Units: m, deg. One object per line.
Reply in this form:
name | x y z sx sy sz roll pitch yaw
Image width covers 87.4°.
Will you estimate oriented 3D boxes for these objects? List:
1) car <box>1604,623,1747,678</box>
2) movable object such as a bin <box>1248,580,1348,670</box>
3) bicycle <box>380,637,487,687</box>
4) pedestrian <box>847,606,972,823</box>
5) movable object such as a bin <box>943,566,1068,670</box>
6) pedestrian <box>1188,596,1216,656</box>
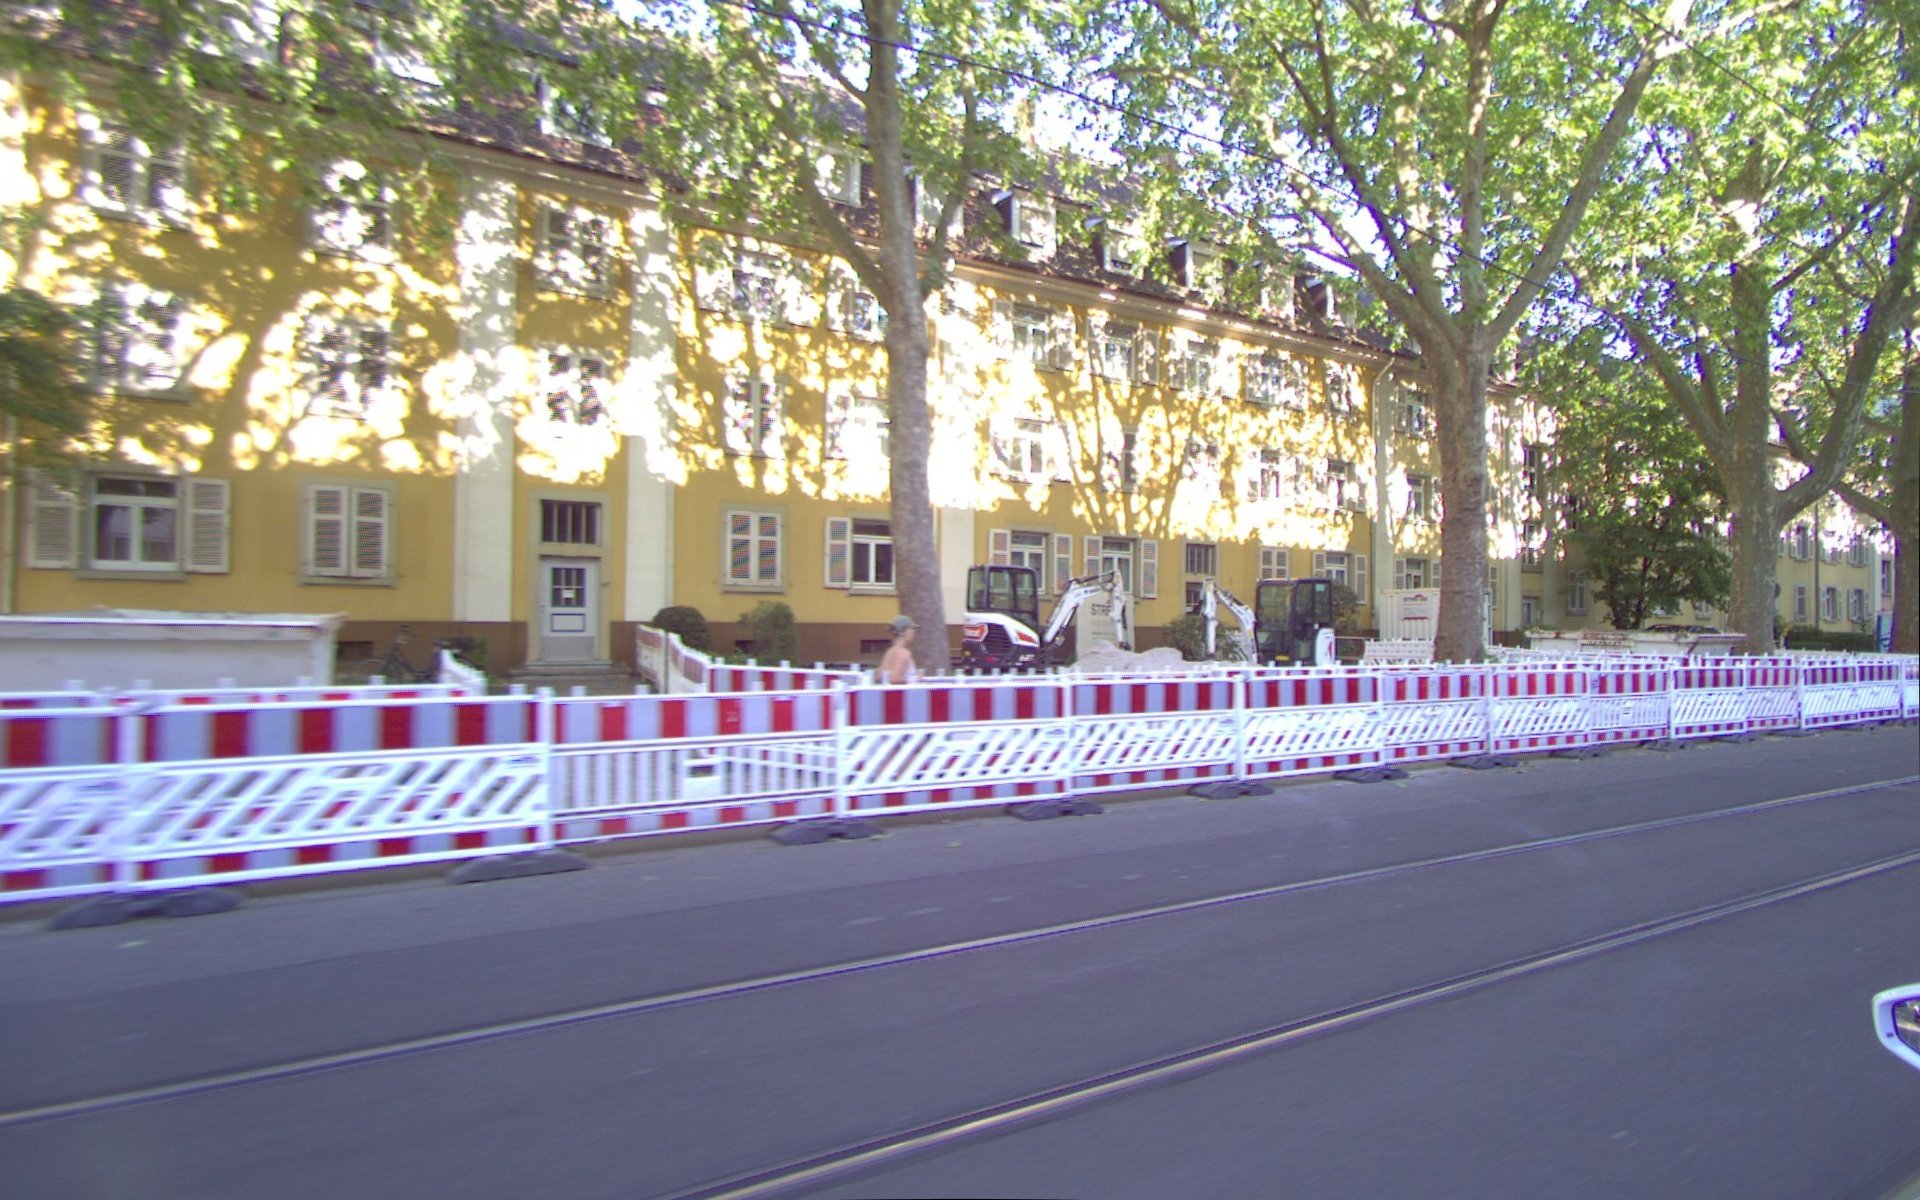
car | 22.829 1.584 32.048 4.460 1.592 1.784 1 0 -26
movable object such as a bin | 6.575 0.484 19.572 1.541 1.667 1.092 2 -1 -30
bicycle | -9.265 1.079 17.692 1.627 0.829 0.503 1 -1 -34
pedestrian | -0.424 0.905 8.335 0.769 1.691 0.713 1 -1 -30
movable object such as a bin | 0.875 0.353 19.349 1.984 1.893 1.327 2 -1 -30
pedestrian | 6.907 0.751 28.654 0.660 1.678 0.672 0 -1 3
